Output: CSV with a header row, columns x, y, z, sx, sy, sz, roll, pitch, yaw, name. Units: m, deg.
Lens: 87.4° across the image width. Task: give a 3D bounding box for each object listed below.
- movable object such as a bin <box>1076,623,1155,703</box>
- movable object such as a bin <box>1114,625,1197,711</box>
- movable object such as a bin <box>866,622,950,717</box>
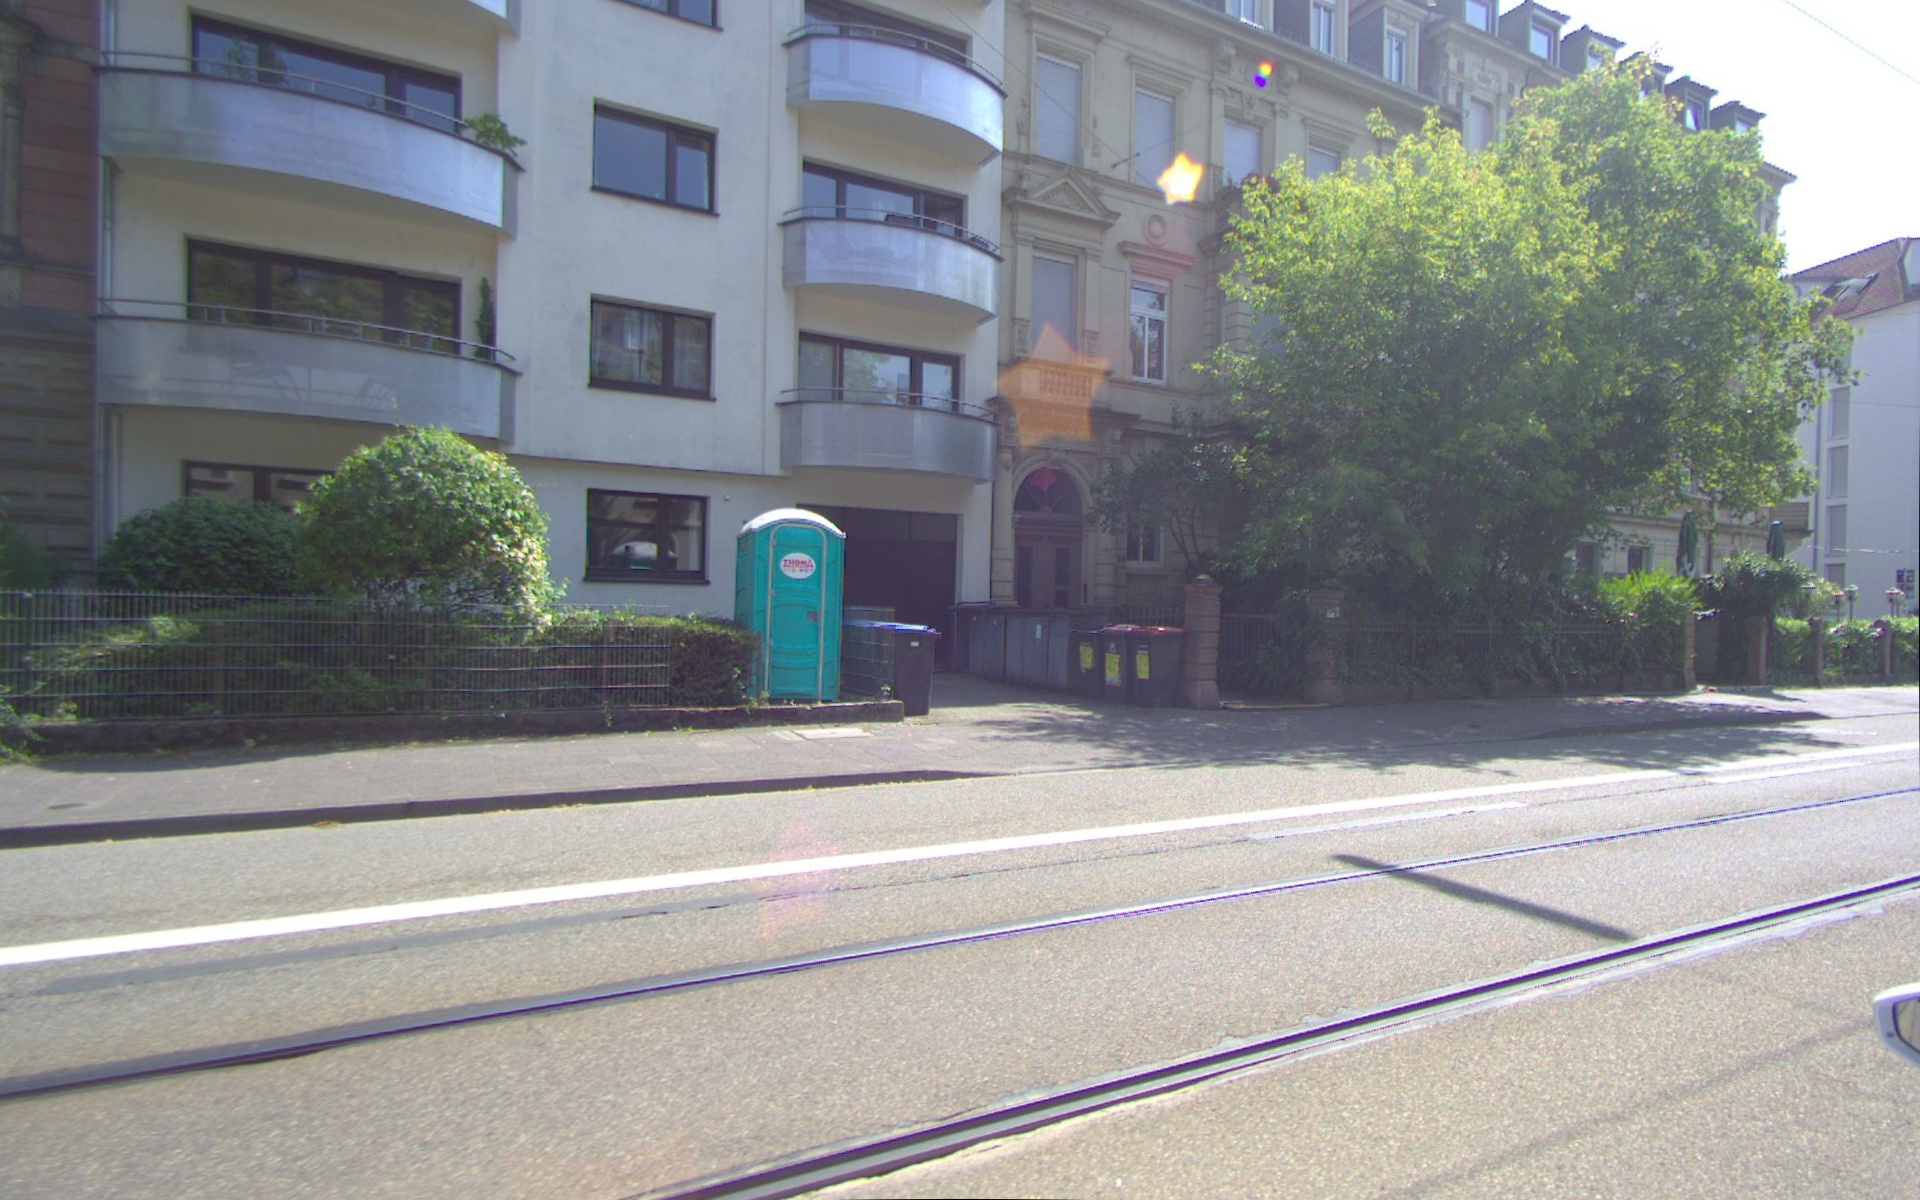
x,y,z,sx,sy,sz,roll,pitch,yaw,name
2.238,0.894,14.491,0.792,1.090,0.784,1,1,-25,movable object such as a bin
2.681,0.919,13.804,0.792,1.090,0.784,1,1,-25,movable object such as a bin
-0.656,0.844,12.433,0.746,1.090,0.783,1,1,-30,movable object such as a bin
